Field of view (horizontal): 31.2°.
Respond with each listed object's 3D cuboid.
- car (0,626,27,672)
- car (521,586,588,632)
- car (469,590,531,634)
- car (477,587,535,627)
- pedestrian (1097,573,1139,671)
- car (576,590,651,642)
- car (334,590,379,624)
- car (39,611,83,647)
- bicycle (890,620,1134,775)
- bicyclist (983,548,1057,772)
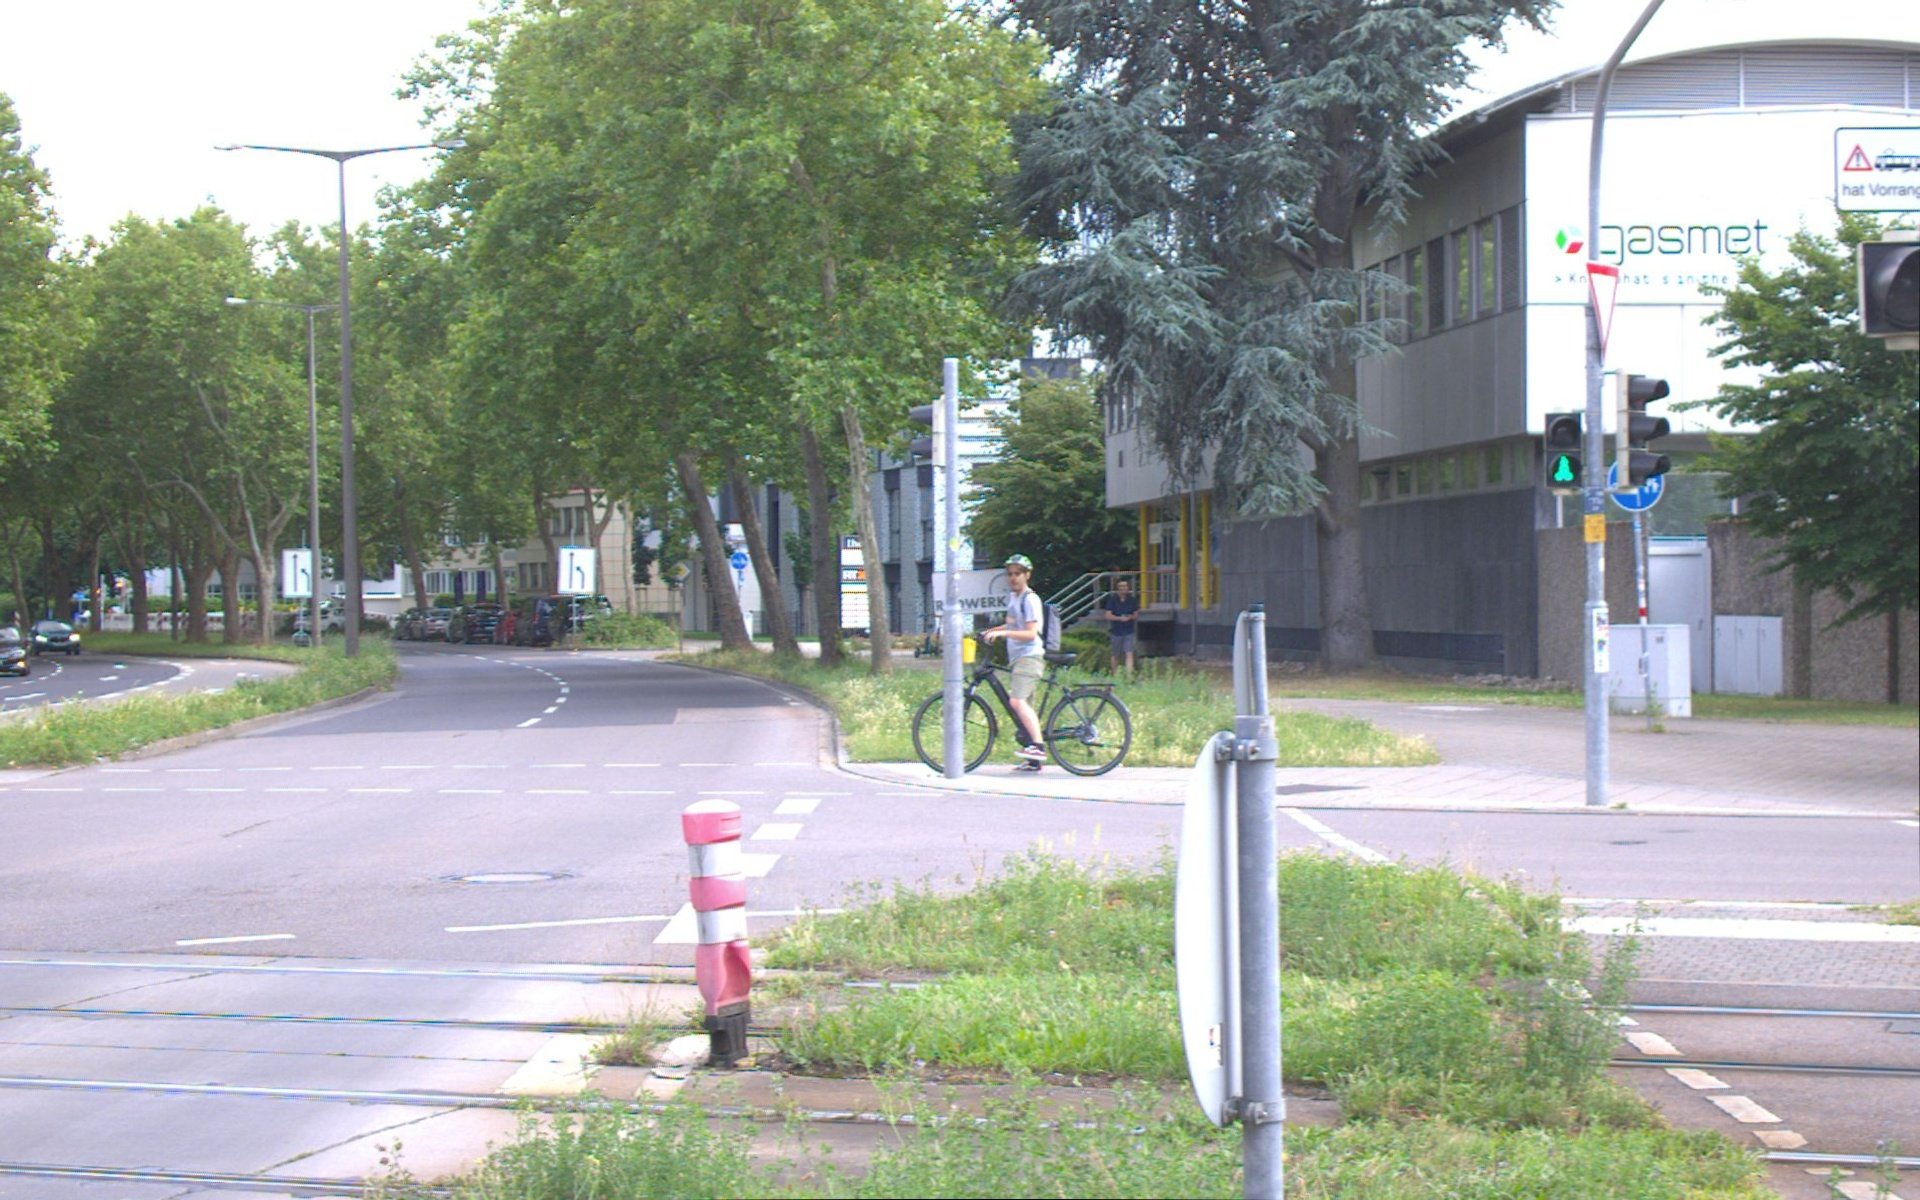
[{"bbox_3d":[-26.609,1.343,94.830,1.634,1.187,3.709,0,0,-16],"label":"car"},{"bbox_3d":[-15.220,0.319,129.045,1.993,1.568,4.002,-1,2,-14],"label":"car"},{"bbox_3d":[-18.333,0.451,136.934,1.993,1.568,4.002,-1,2,-14],"label":"car"},{"bbox_3d":[-19.505,0.285,147.655,1.993,1.568,4.002,-1,2,-14],"label":"car"},{"bbox_3d":[2.559,0.351,55.563,0.620,1.564,0.559,-1,2,-3],"label":"pedestrian"},{"bbox_3d":[-11.859,0.531,117.553,1.993,1.568,4.002,-1,2,-14],"label":"car"},{"bbox_3d":[-30.749,0.348,175.134,1.993,1.568,4.002,-1,2,-14],"label":"car"},{"bbox_3d":[-36.208,1.163,138.393,1.656,1.267,3.772,-1,2,-15],"label":"car"},{"bbox_3d":[0.432,0.794,28.253,1.946,1.231,0.541,0,2,7],"label":"bicycle"},{"bbox_3d":[0.498,0.485,28.235,0.543,1.803,0.541,0,2,7],"label":"bicyclist"}]
